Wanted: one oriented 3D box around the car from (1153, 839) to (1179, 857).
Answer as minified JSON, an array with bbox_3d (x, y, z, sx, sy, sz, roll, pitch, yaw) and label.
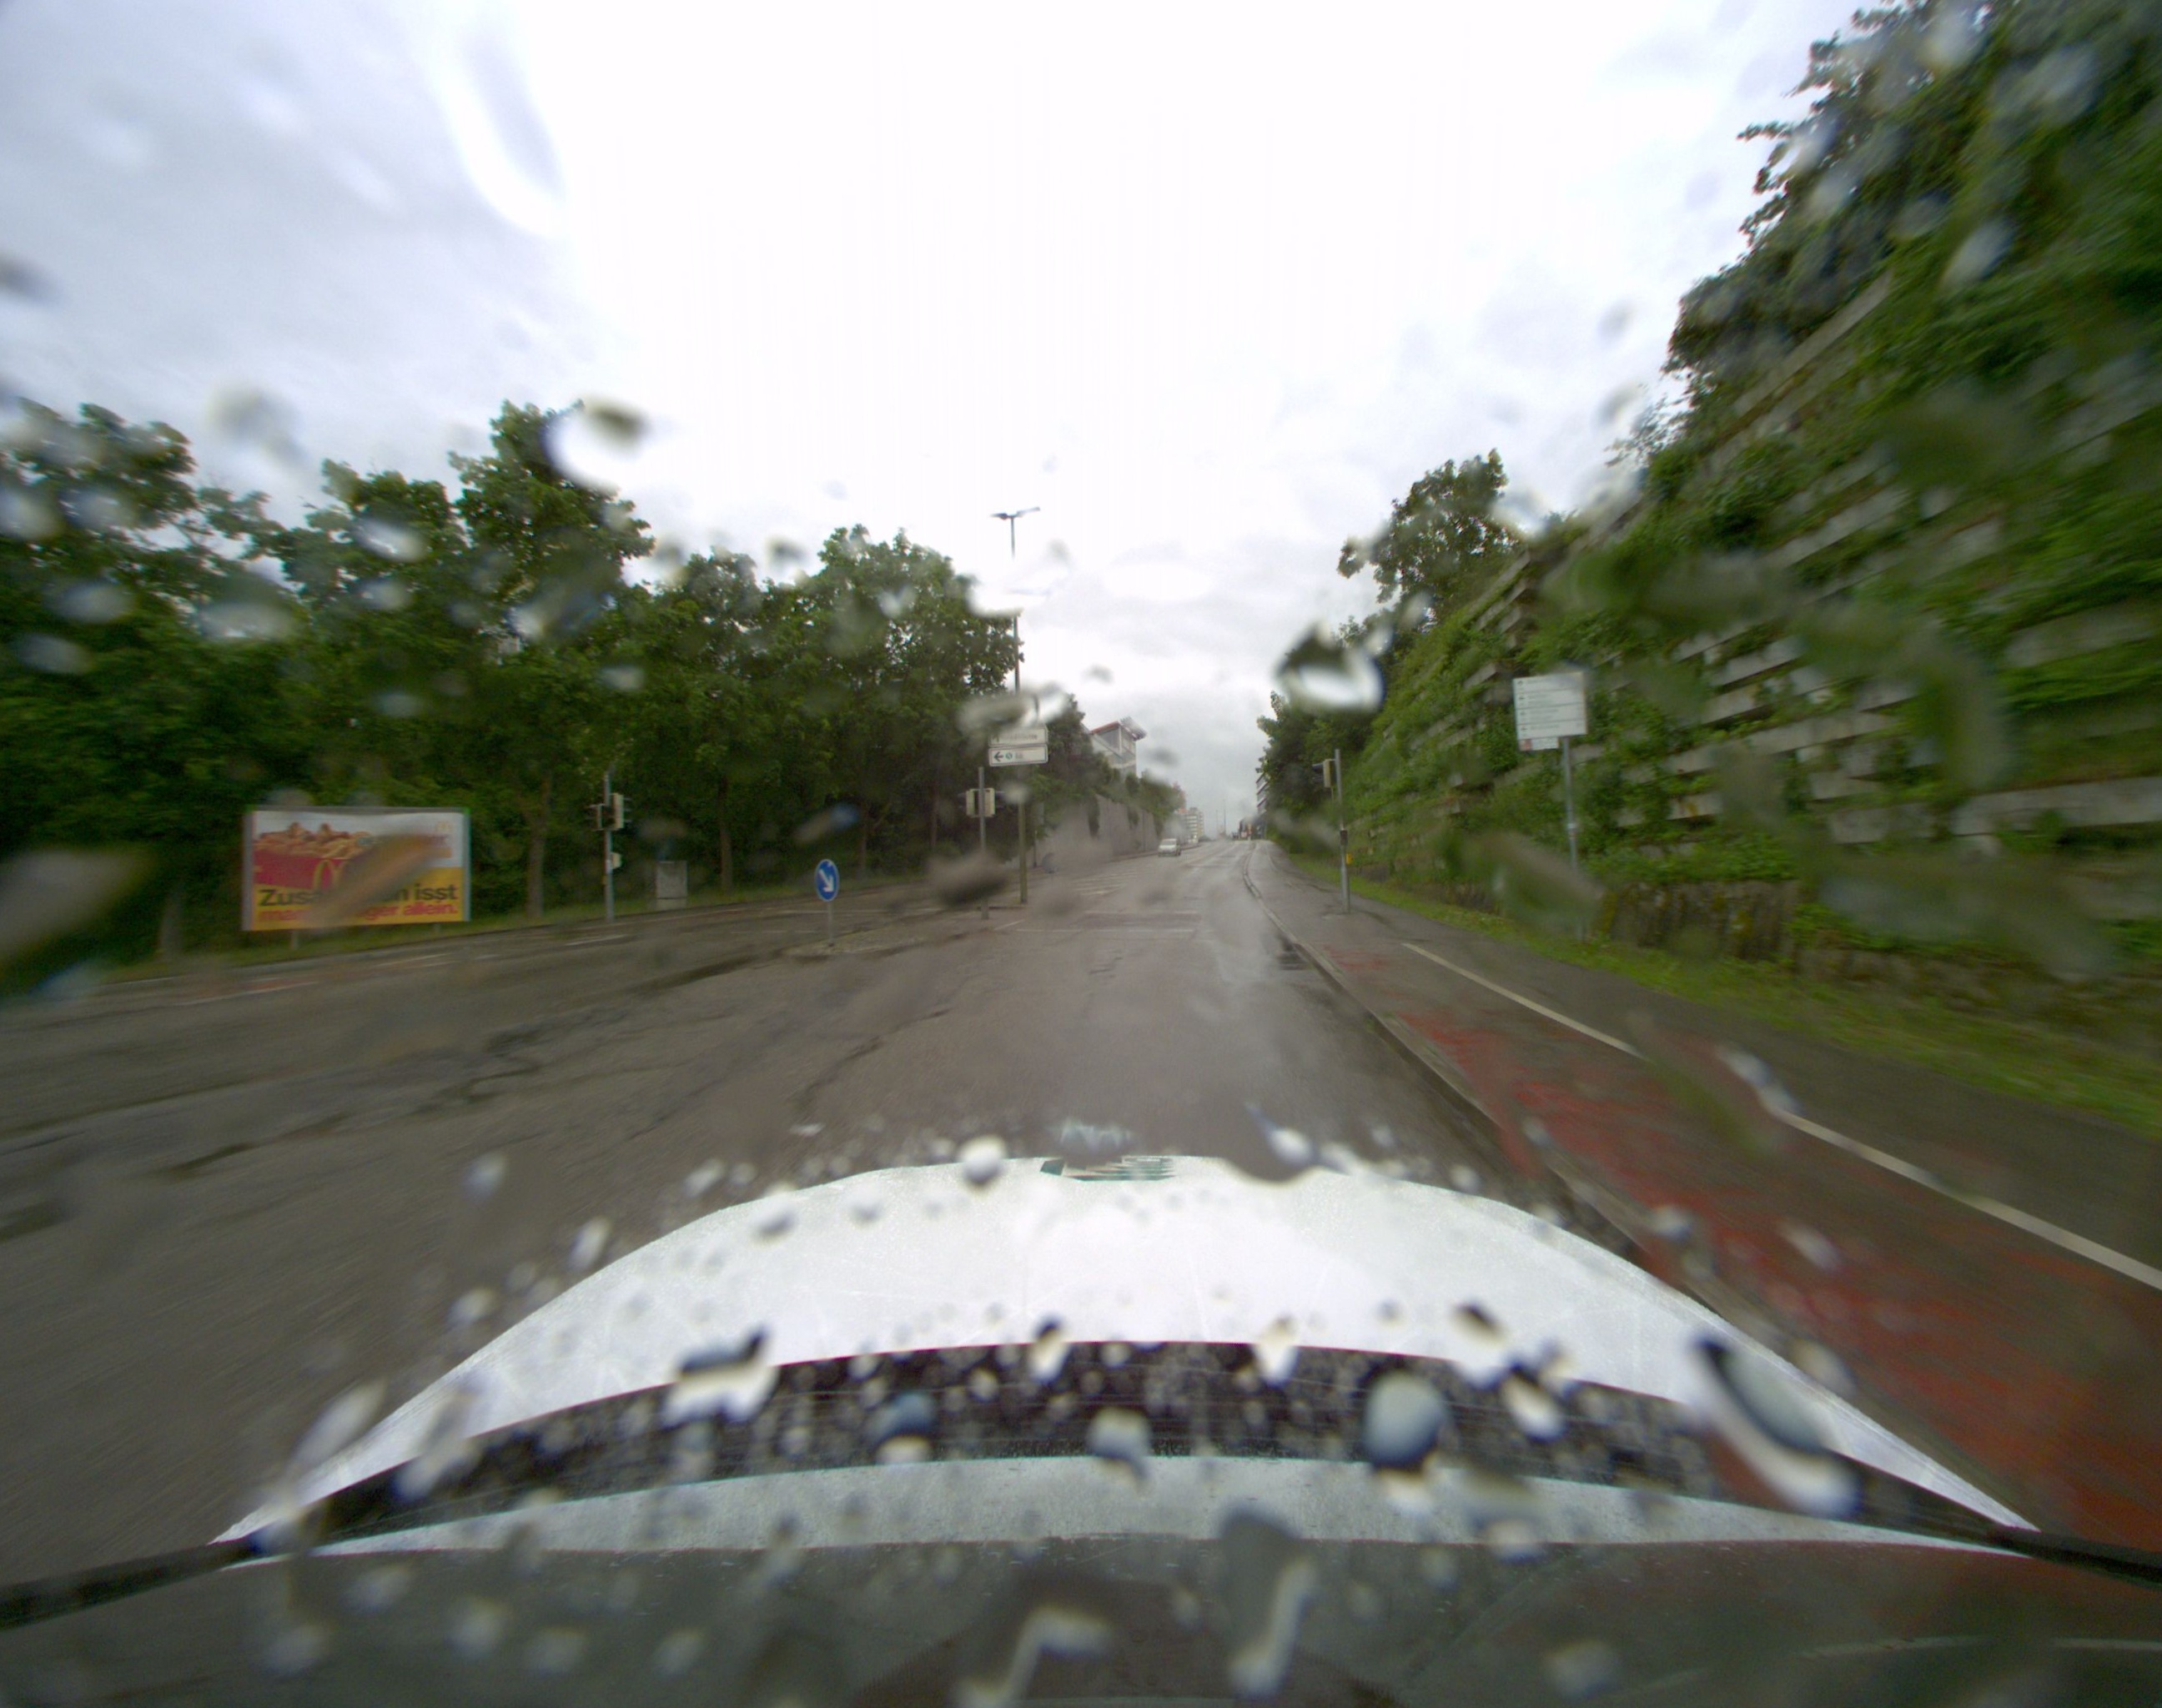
[{"bbox_3d":[7.358,-0.492,71.117,1.510,1.448,3.809,-1,0,-5],"label":"car"}]
